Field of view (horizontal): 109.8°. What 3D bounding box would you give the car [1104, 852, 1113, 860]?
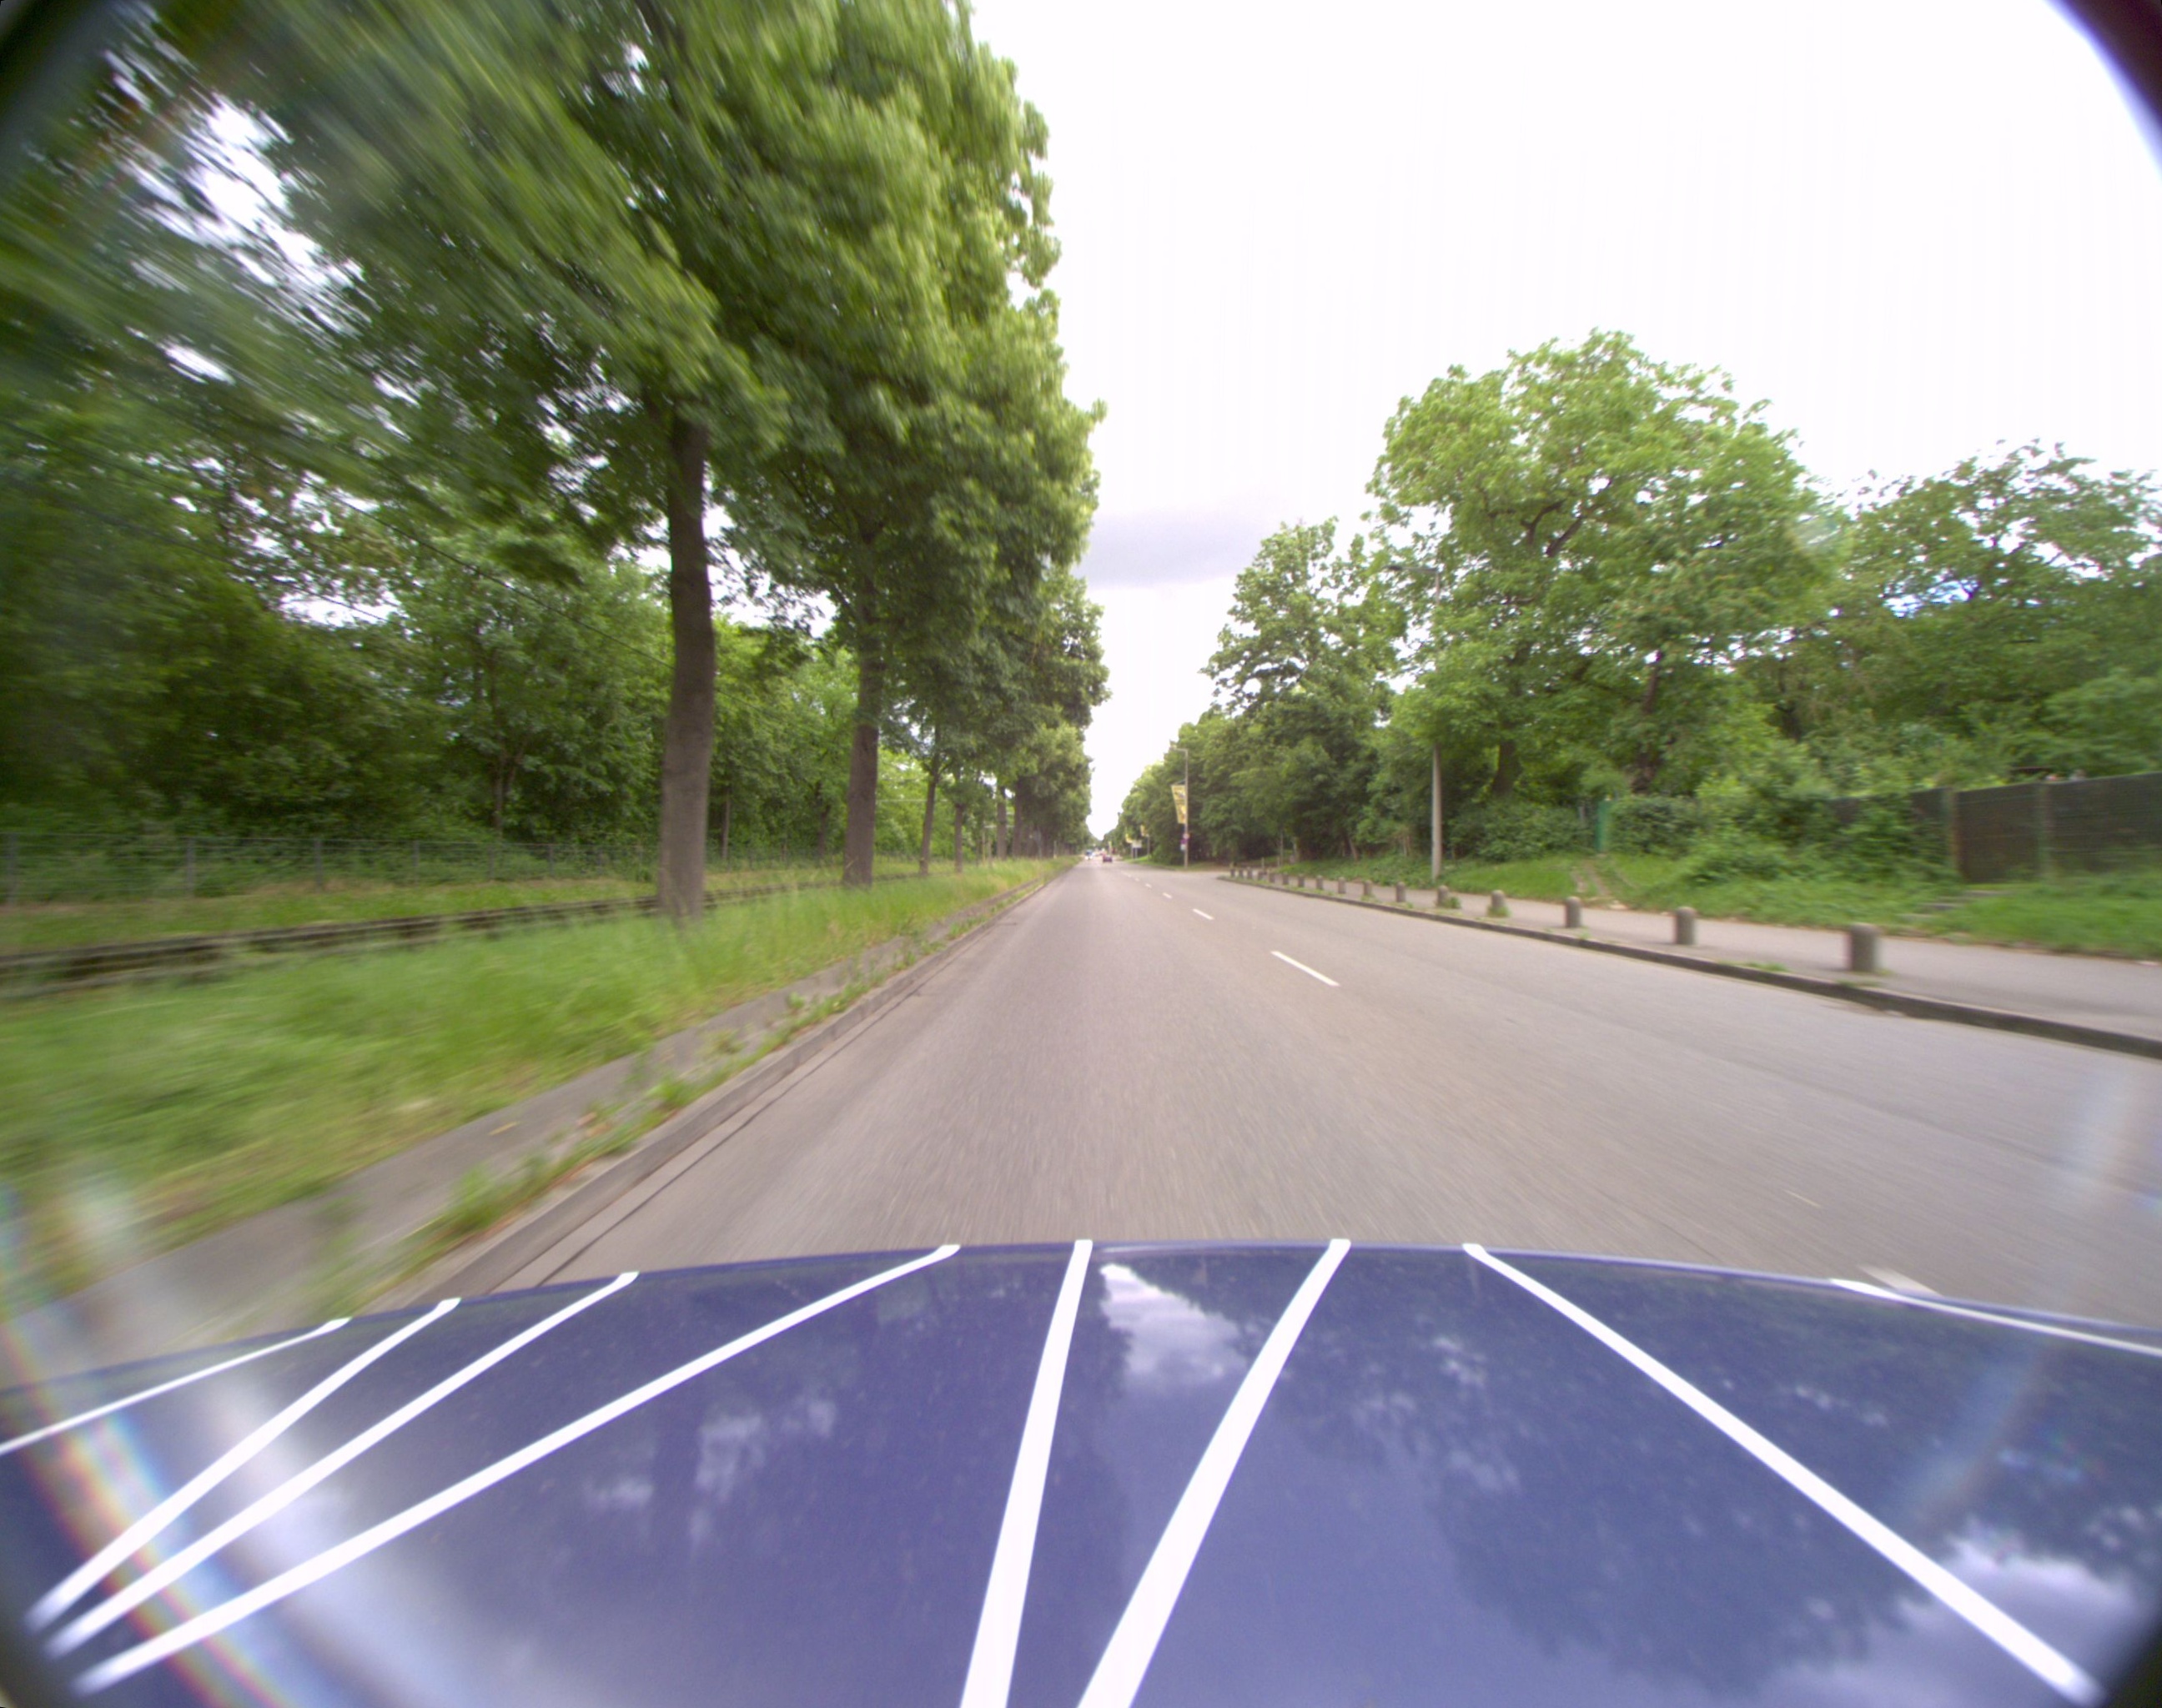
[{"bbox_3d":[5.220,0.403,144.495,1.720,1.420,4.197,1,0,1],"label":"car"}]
